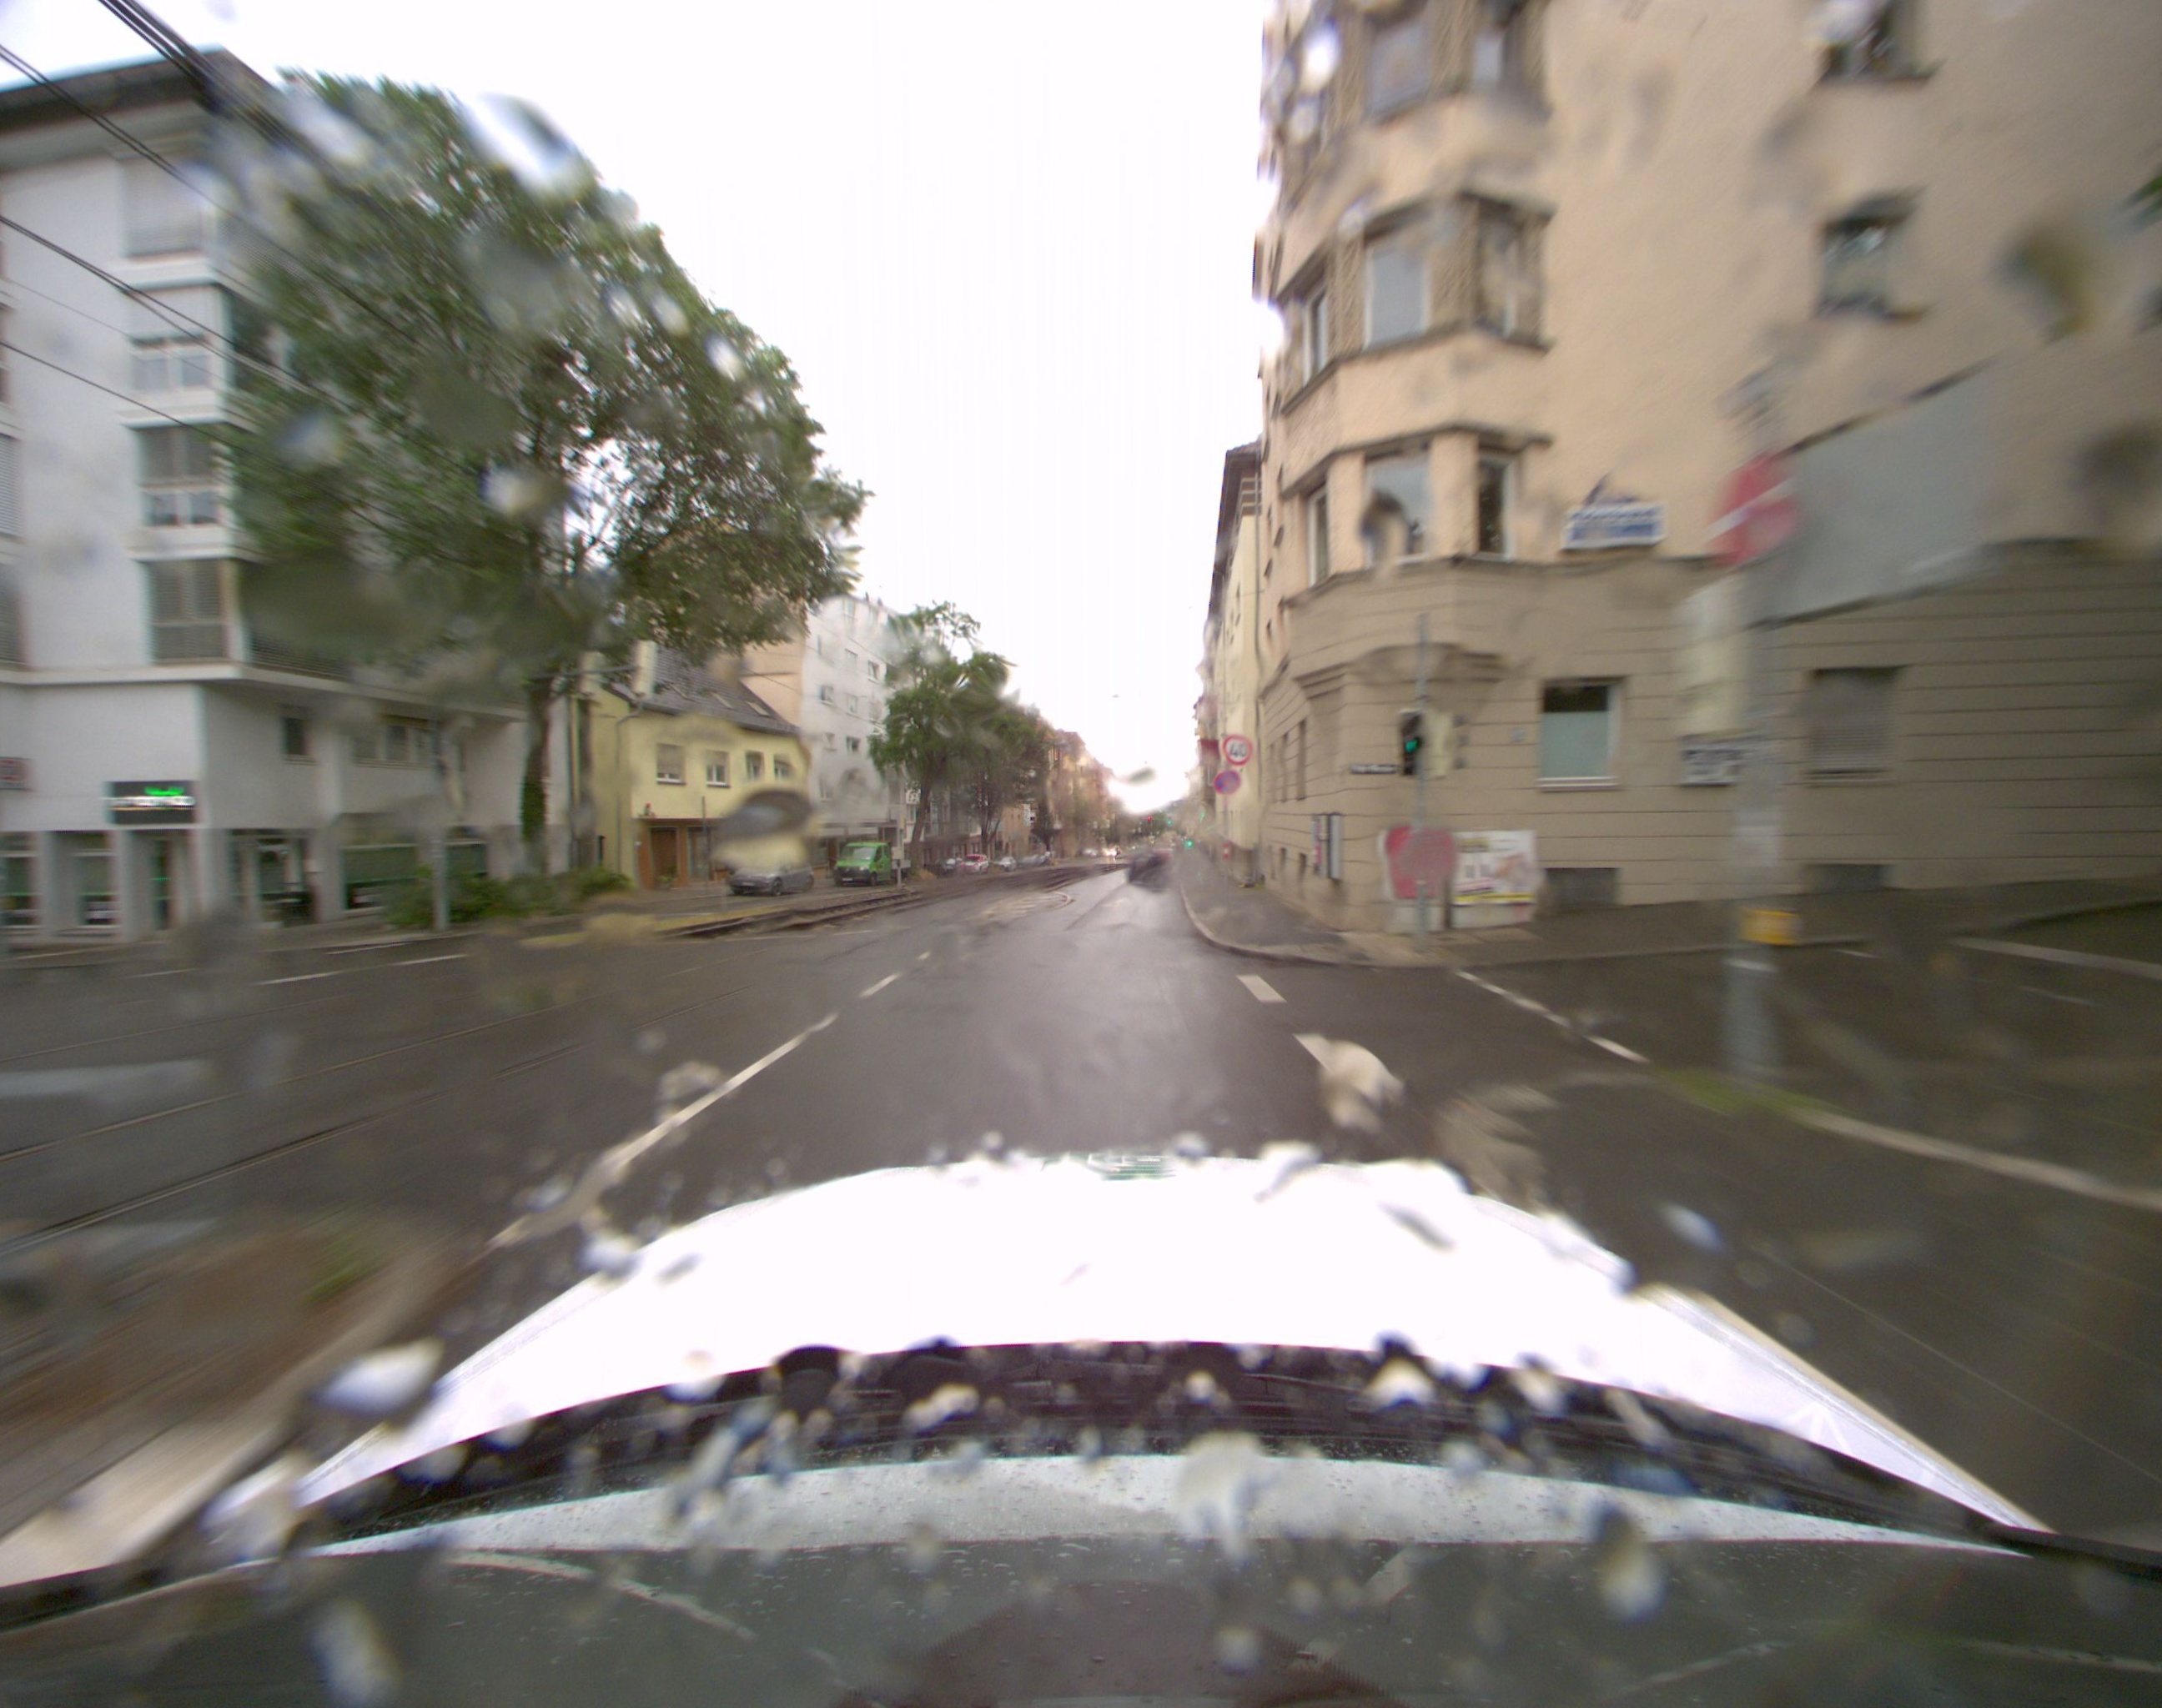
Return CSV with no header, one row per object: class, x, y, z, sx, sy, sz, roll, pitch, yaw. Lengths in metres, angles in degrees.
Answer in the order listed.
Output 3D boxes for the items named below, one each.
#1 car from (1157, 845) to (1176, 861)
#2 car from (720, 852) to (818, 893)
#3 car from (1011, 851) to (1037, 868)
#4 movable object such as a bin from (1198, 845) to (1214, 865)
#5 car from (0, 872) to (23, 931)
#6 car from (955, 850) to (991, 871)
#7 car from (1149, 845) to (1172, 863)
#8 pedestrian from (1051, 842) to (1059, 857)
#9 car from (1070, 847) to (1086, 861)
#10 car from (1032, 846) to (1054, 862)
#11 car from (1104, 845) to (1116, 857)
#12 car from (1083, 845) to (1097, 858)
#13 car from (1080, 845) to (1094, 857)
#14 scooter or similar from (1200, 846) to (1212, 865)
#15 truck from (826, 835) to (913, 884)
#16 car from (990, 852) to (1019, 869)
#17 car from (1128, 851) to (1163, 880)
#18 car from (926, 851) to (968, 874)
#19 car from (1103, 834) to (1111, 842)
car,9.426,-0.090,90.006,1.939,1.793,4.150,-1,0,5
car,-12.694,0.705,33.454,1.716,1.515,4.506,-2,0,8
car,-5.874,0.560,84.564,1.764,1.619,4.264,-3,0,7
movable object such as a bin,10.932,0.112,71.062,1.163,1.655,1.310,-3,0,3
car,-29.200,1.286,19.775,1.693,1.535,4.002,-2,0,2
car,-8.495,0.503,64.568,1.764,1.546,4.263,-3,0,6
car,6.872,0.003,70.503,1.843,1.473,4.005,-1,0,5
pedestrian,-3.631,-0.625,114.402,0.867,2.014,0.705,-3,-1,5
car,-0.420,0.025,130.508,1.984,2.014,4.353,-3,-1,5
car,-4.449,0.001,94.871,1.853,1.816,4.008,-2,0,7
car,5.476,-0.576,153.256,1.984,2.013,4.353,-2,0,5
car,1.671,-0.427,145.476,1.984,2.014,4.353,-3,-1,5
car,1.091,-0.473,140.455,1.984,2.014,4.353,-3,-1,5
scooter or similar,10.699,0.131,69.567,0.915,1.604,0.863,-2,0,2
truck,-11.153,0.287,43.526,2.039,2.393,6.338,-2,0,10
car,-7.105,0.615,75.943,1.764,1.488,4.264,-3,-1,7
car,3.702,0.617,46.107,1.843,1.473,4.006,-2,0,5
car,-9.362,0.560,57.360,1.764,1.453,4.262,-3,-1,6
car,7.169,-4.353,223.276,1.984,2.013,4.006,-2,0,5
